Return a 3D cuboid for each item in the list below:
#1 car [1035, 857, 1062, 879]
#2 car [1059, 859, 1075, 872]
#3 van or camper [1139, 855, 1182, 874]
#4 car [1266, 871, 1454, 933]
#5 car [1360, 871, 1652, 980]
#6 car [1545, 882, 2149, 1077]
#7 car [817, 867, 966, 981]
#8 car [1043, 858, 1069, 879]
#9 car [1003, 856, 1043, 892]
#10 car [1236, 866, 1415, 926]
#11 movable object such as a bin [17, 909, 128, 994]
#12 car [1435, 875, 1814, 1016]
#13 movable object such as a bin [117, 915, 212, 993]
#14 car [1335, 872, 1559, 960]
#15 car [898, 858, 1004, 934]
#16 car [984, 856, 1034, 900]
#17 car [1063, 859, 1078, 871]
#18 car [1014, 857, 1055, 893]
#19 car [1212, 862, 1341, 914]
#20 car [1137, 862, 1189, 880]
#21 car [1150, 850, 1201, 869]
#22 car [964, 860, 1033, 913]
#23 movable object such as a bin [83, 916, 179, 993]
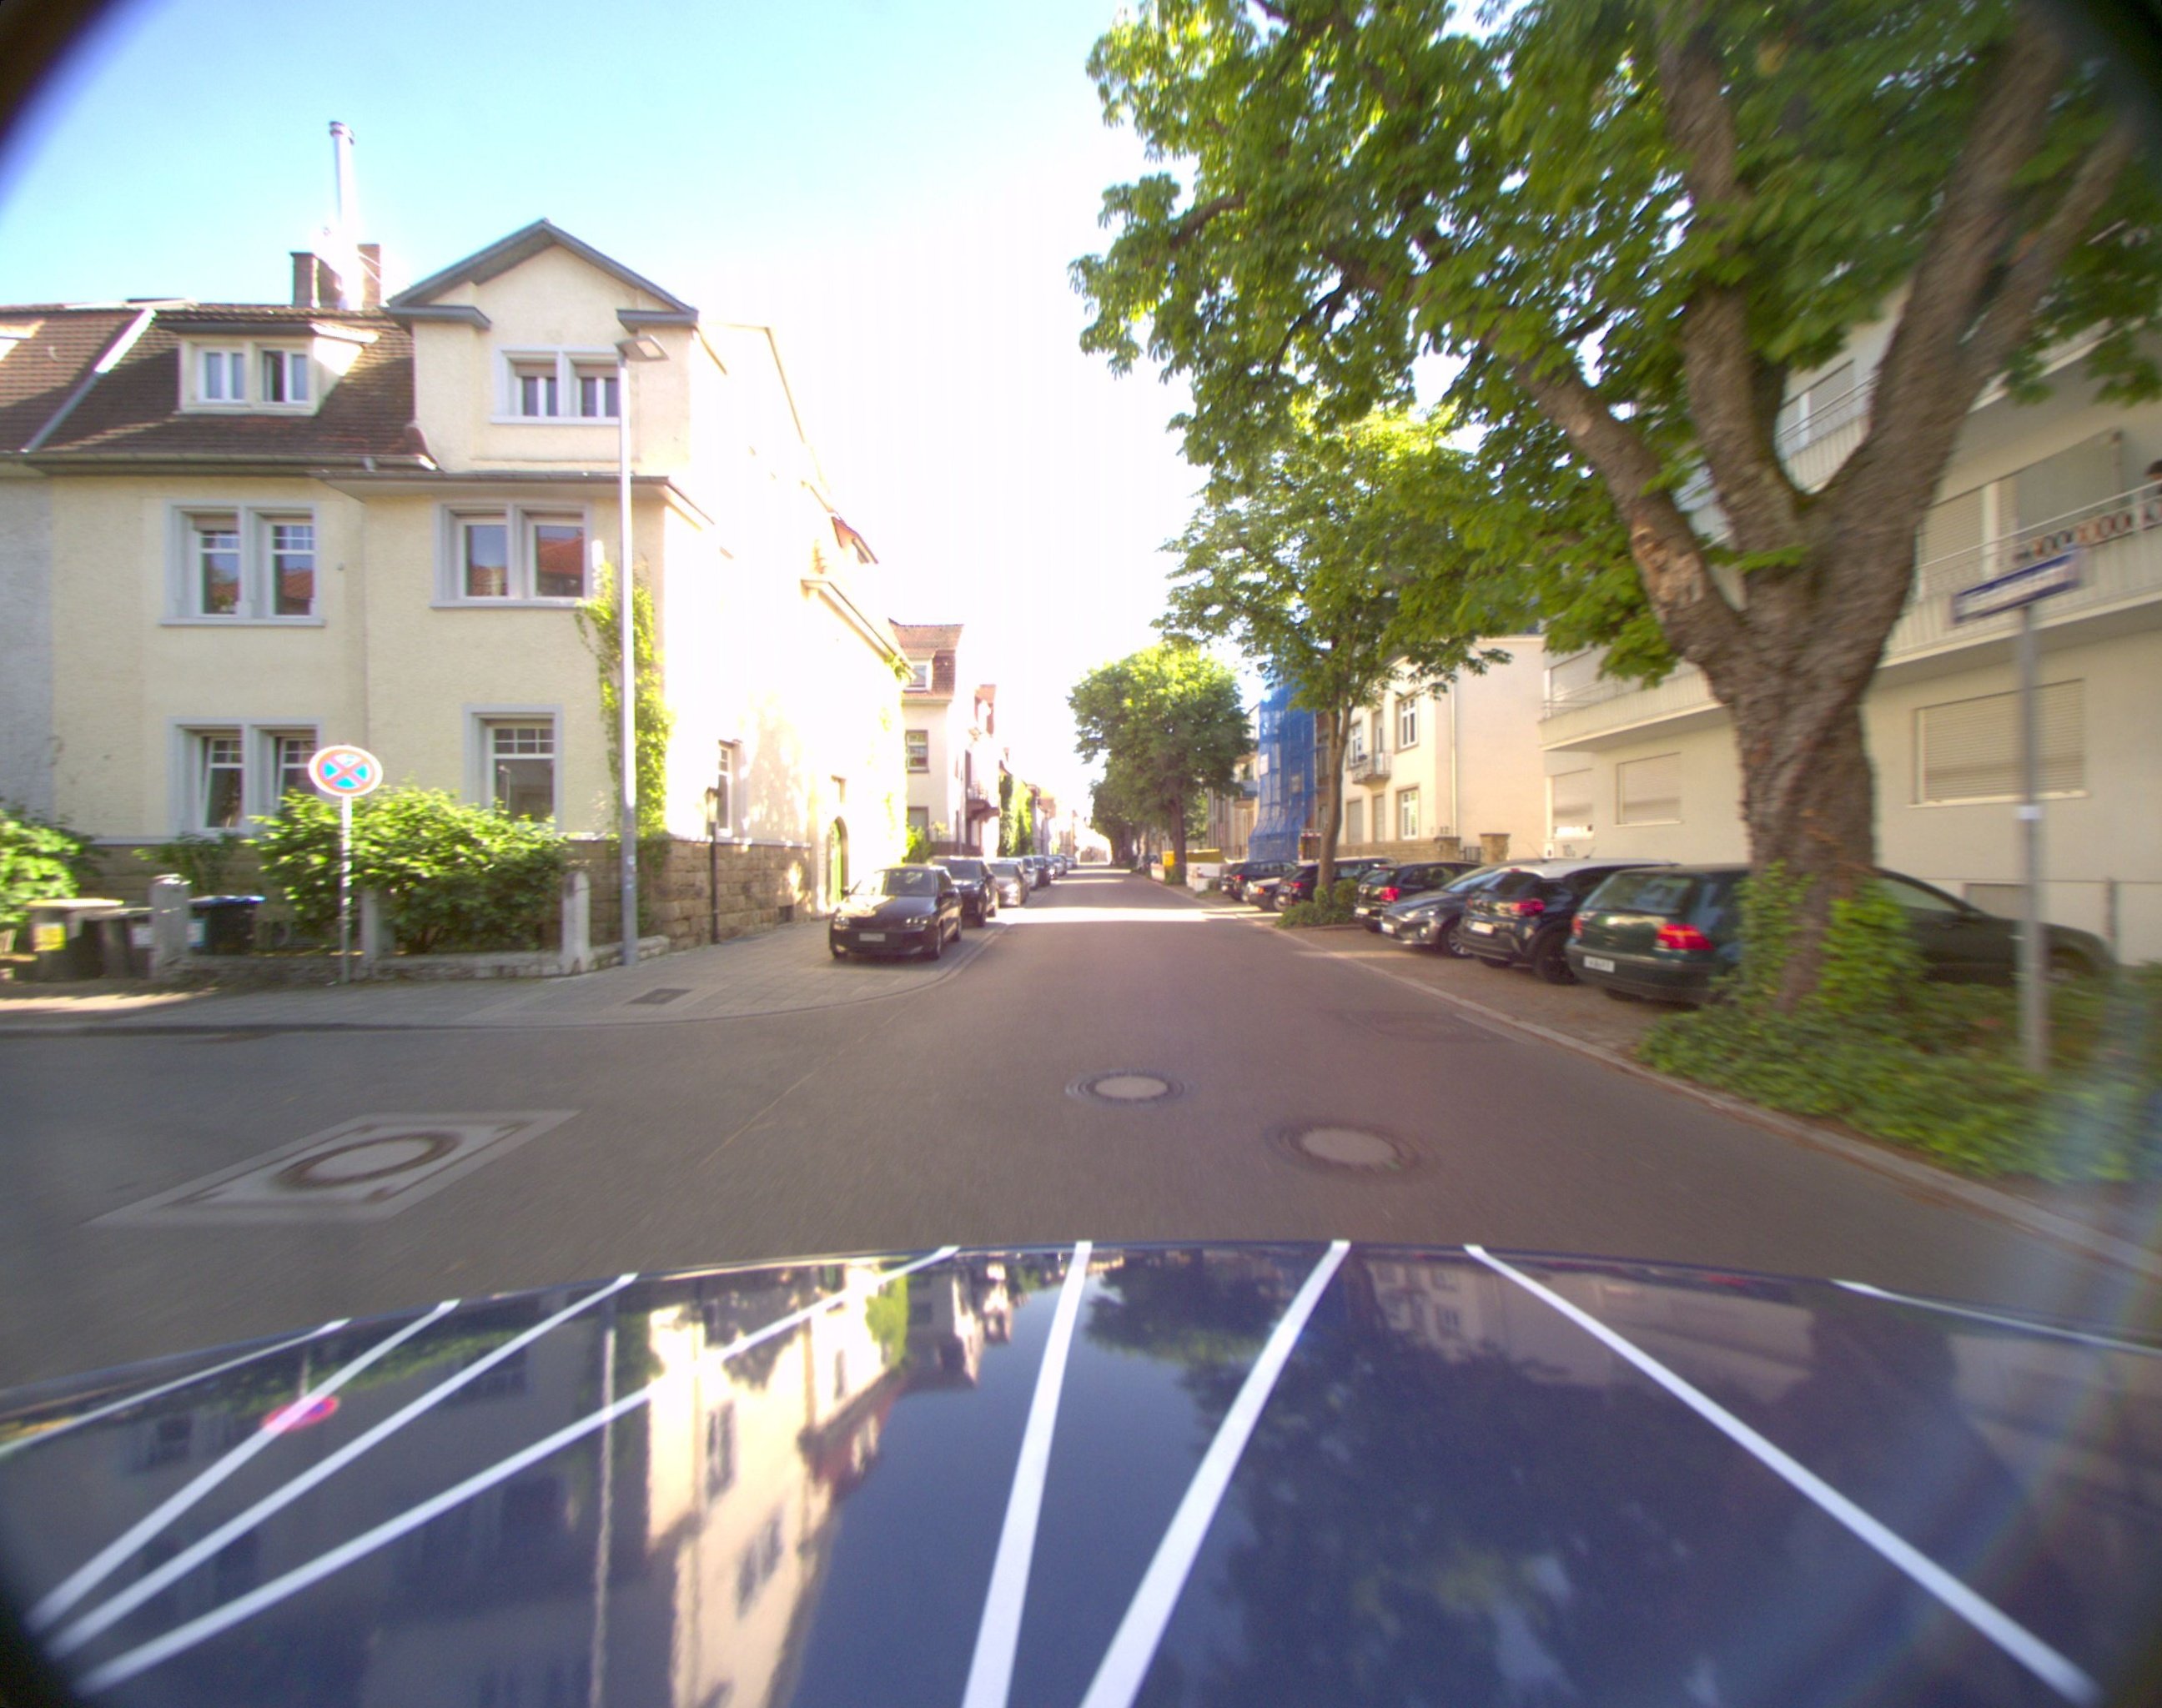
[{"bbox_3d":[-2.187,0.934,52.185,1.648,1.445,4.503,-1,0,1],"label":"car"},{"bbox_3d":[-1.680,1.394,94.659,1.813,1.546,4.107,0,0,2],"label":"car"},{"bbox_3d":[7.564,0.996,72.731,3.954,1.762,1.809,-1,-1,0],"label":"van or camper"},{"bbox_3d":[7.063,1.194,19.505,4.198,1.433,1.713,-1,0,0],"label":"car"},{"bbox_3d":[6.593,1.084,12.111,3.652,1.454,1.710,-2,0,3],"label":"car"},{"bbox_3d":[6.837,1.056,7.104,3.932,1.406,1.715,-2,-1,-1],"label":"car"},{"bbox_3d":[-3.031,1.046,12.925,1.667,1.511,4.000,1,1,-2],"label":"car"},{"bbox_3d":[-2.031,1.152,62.983,1.872,1.635,4.199,0,0,1],"label":"car"},{"bbox_3d":[-2.728,0.926,36.130,1.629,1.540,2.869,-1,1,0],"label":"car"},{"bbox_3d":[7.000,1.177,22.055,4.601,1.597,1.833,0,0,-1],"label":"car"},{"bbox_3d":[-13.442,1.286,10.143,0.520,1.016,0.666,-2,1,1],"label":"movable object such as a bin"},{"bbox_3d":[6.670,1.085,9.653,3.486,1.449,1.798,-2,0,2],"label":"car"},{"bbox_3d":[-12.344,1.334,10.244,0.520,0.947,0.576,-2,1,1],"label":"movable object such as a bin"},{"bbox_3d":[6.989,1.140,14.718,3.488,1.412,1.709,-2,1,-4],"label":"car"},{"bbox_3d":[-3.031,0.919,18.559,1.796,1.511,4.366,1,1,0],"label":"car"},{"bbox_3d":[-2.752,0.892,29.566,1.579,1.540,3.468,1,1,0],"label":"car"},{"bbox_3d":[-1.369,1.457,104.777,1.822,1.529,4.161,-2,0,2],"label":"car"},{"bbox_3d":[-2.477,1.088,41.222,1.782,1.686,4.320,-2,1,1],"label":"car"},{"bbox_3d":[6.726,1.147,26.355,3.883,1.505,1.832,-3,1,-8],"label":"car"},{"bbox_3d":[6.863,1.411,63.662,4.150,1.392,1.710,-1,0,1],"label":"car"},{"bbox_3d":[7.301,0.420,59.001,3.735,1.456,1.715,1,-1,2],"label":"car"},{"bbox_3d":[-2.607,0.994,24.811,1.713,1.428,4.192,2,1,0],"label":"car"},{"bbox_3d":[-12.893,1.356,10.325,0.520,0.947,0.576,-2,1,1],"label":"movable object such as a bin"}]
